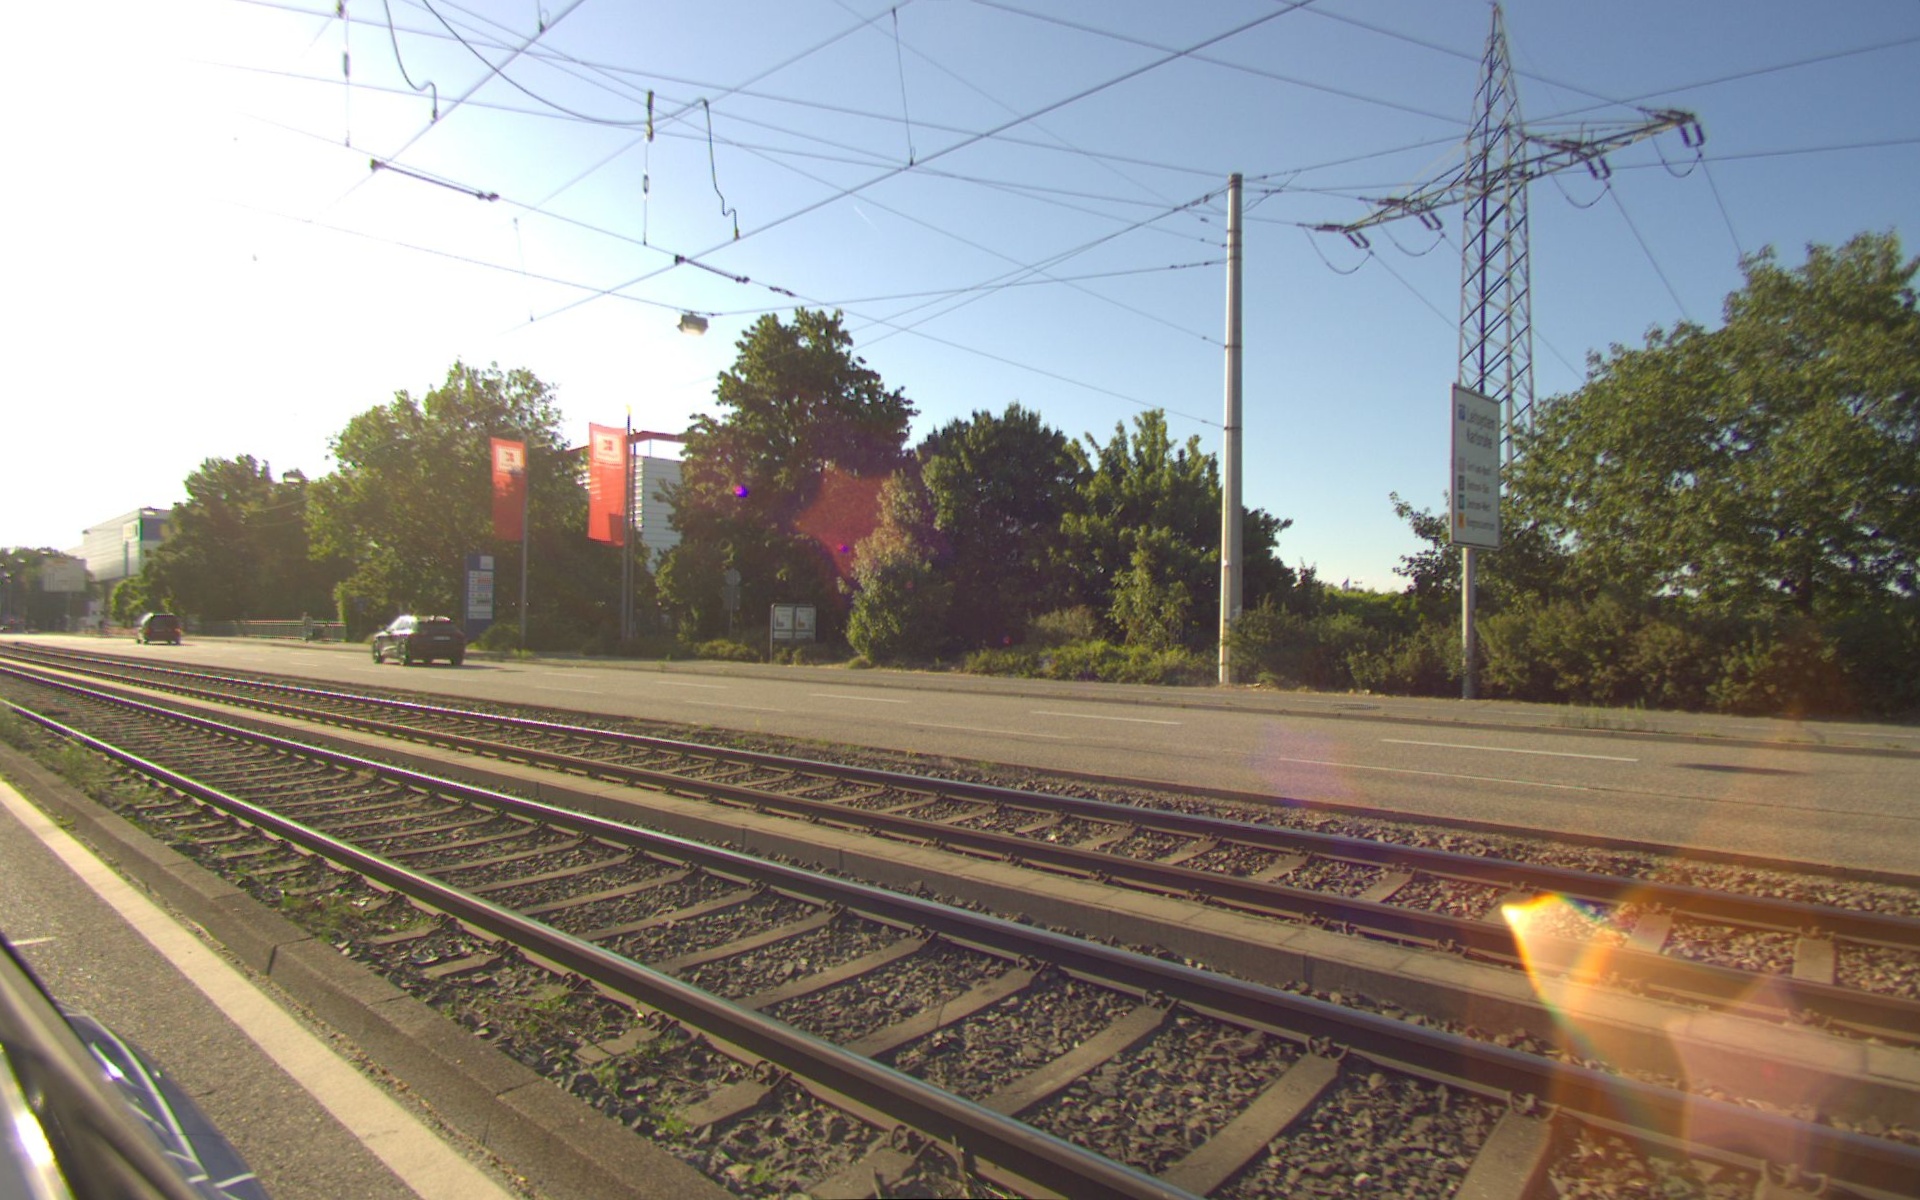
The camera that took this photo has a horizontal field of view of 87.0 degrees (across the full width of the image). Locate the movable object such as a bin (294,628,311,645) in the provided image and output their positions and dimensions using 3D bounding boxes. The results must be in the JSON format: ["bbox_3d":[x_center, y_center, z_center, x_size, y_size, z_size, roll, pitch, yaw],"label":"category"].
[{"bbox_3d":[-39.155,2.157,60.262,1.083,0.973,0.606,0,1,41],"label":"movable object such as a bin"}]

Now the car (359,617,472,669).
[{"bbox_3d":[-18.732,1.422,34.738,4.683,1.637,1.972,0,-2,42],"label":"car"}]

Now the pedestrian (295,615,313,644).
[{"bbox_3d":[-38.975,1.743,60.086,1.083,1.660,0.606,0,1,41],"label":"pedestrian"}]

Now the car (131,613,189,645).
[{"bbox_3d":[-48.889,1.761,61.810,4.348,1.809,1.972,0,-2,42],"label":"car"}]
